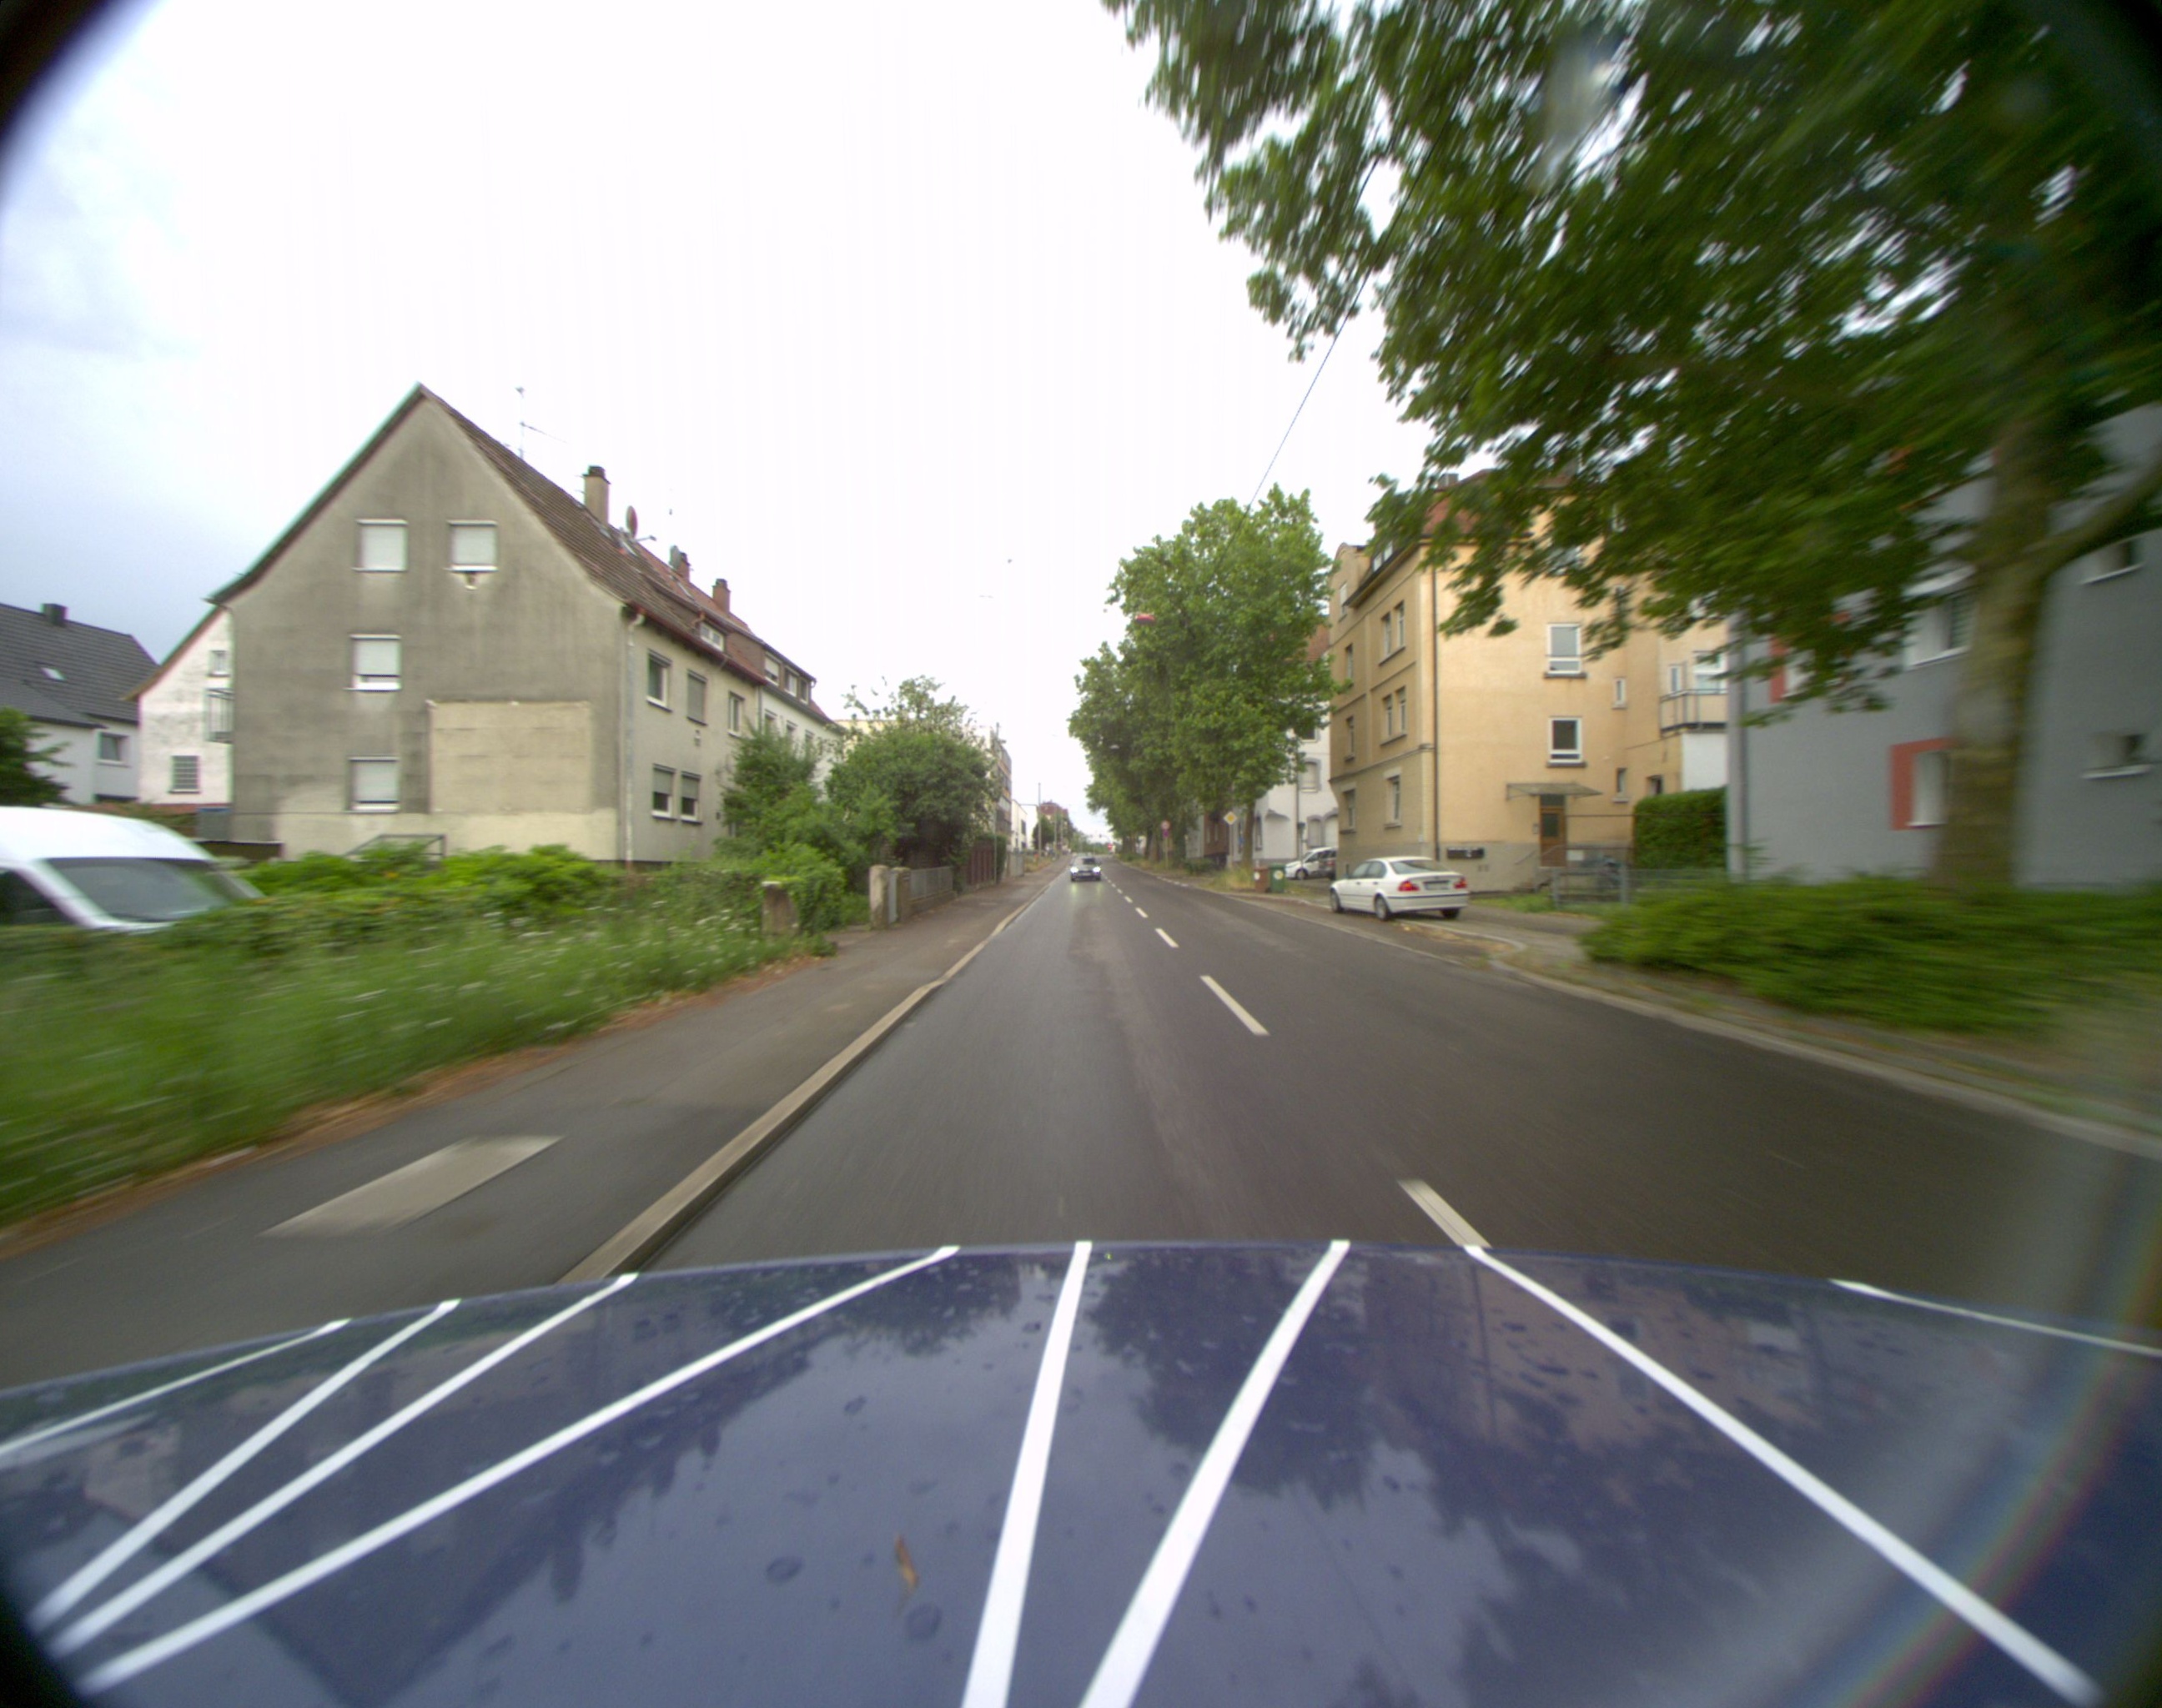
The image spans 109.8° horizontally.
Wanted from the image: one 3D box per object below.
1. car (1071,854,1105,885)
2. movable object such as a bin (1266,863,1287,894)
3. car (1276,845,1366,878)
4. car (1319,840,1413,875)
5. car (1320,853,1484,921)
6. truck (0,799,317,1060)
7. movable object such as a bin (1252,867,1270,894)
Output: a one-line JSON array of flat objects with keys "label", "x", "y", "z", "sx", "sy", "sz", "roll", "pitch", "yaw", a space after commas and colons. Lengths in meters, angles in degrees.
[{"label": "car", "x": 0.413, "y": 0.905, "z": 46.182, "sx": 1.949, "sy": 1.644, "sz": 3.857, "roll": -1, "pitch": 2, "yaw": -1}, {"label": "movable object such as a bin", "x": 6.914, "y": 0.862, "z": 26.887, "sx": 0.536, "sy": 1.051, "sz": 0.762, "roll": 0, "pitch": 1, "yaw": 0}, {"label": "car", "x": 14.259, "y": 0.420, "z": 45.380, "sx": 4.682, "sy": 1.768, "sz": 2.020, "roll": -3, "pitch": 1, "yaw": 0}, {"label": "car", "x": 14.626, "y": 0.162, "z": 39.227, "sx": 4.123, "sy": 1.602, "sz": 2.043, "roll": -2, "pitch": 1, "yaw": 5}, {"label": "car", "x": 7.365, "y": 0.684, "z": 17.993, "sx": 1.760, "sy": 1.318, "sz": 4.537, "roll": -2, "pitch": 1, "yaw": -3}, {"label": "truck", "x": -12.863, "y": 0.859, "z": 8.761, "sx": 5.859, "sy": 2.622, "sz": 2.043, "roll": -2, "pitch": 1, "yaw": 0}, {"label": "movable object such as a bin", "x": 6.350, "y": 0.920, "z": 26.806, "sx": 0.513, "sy": 0.922, "sz": 0.581, "roll": 0, "pitch": 1, "yaw": 0}]
